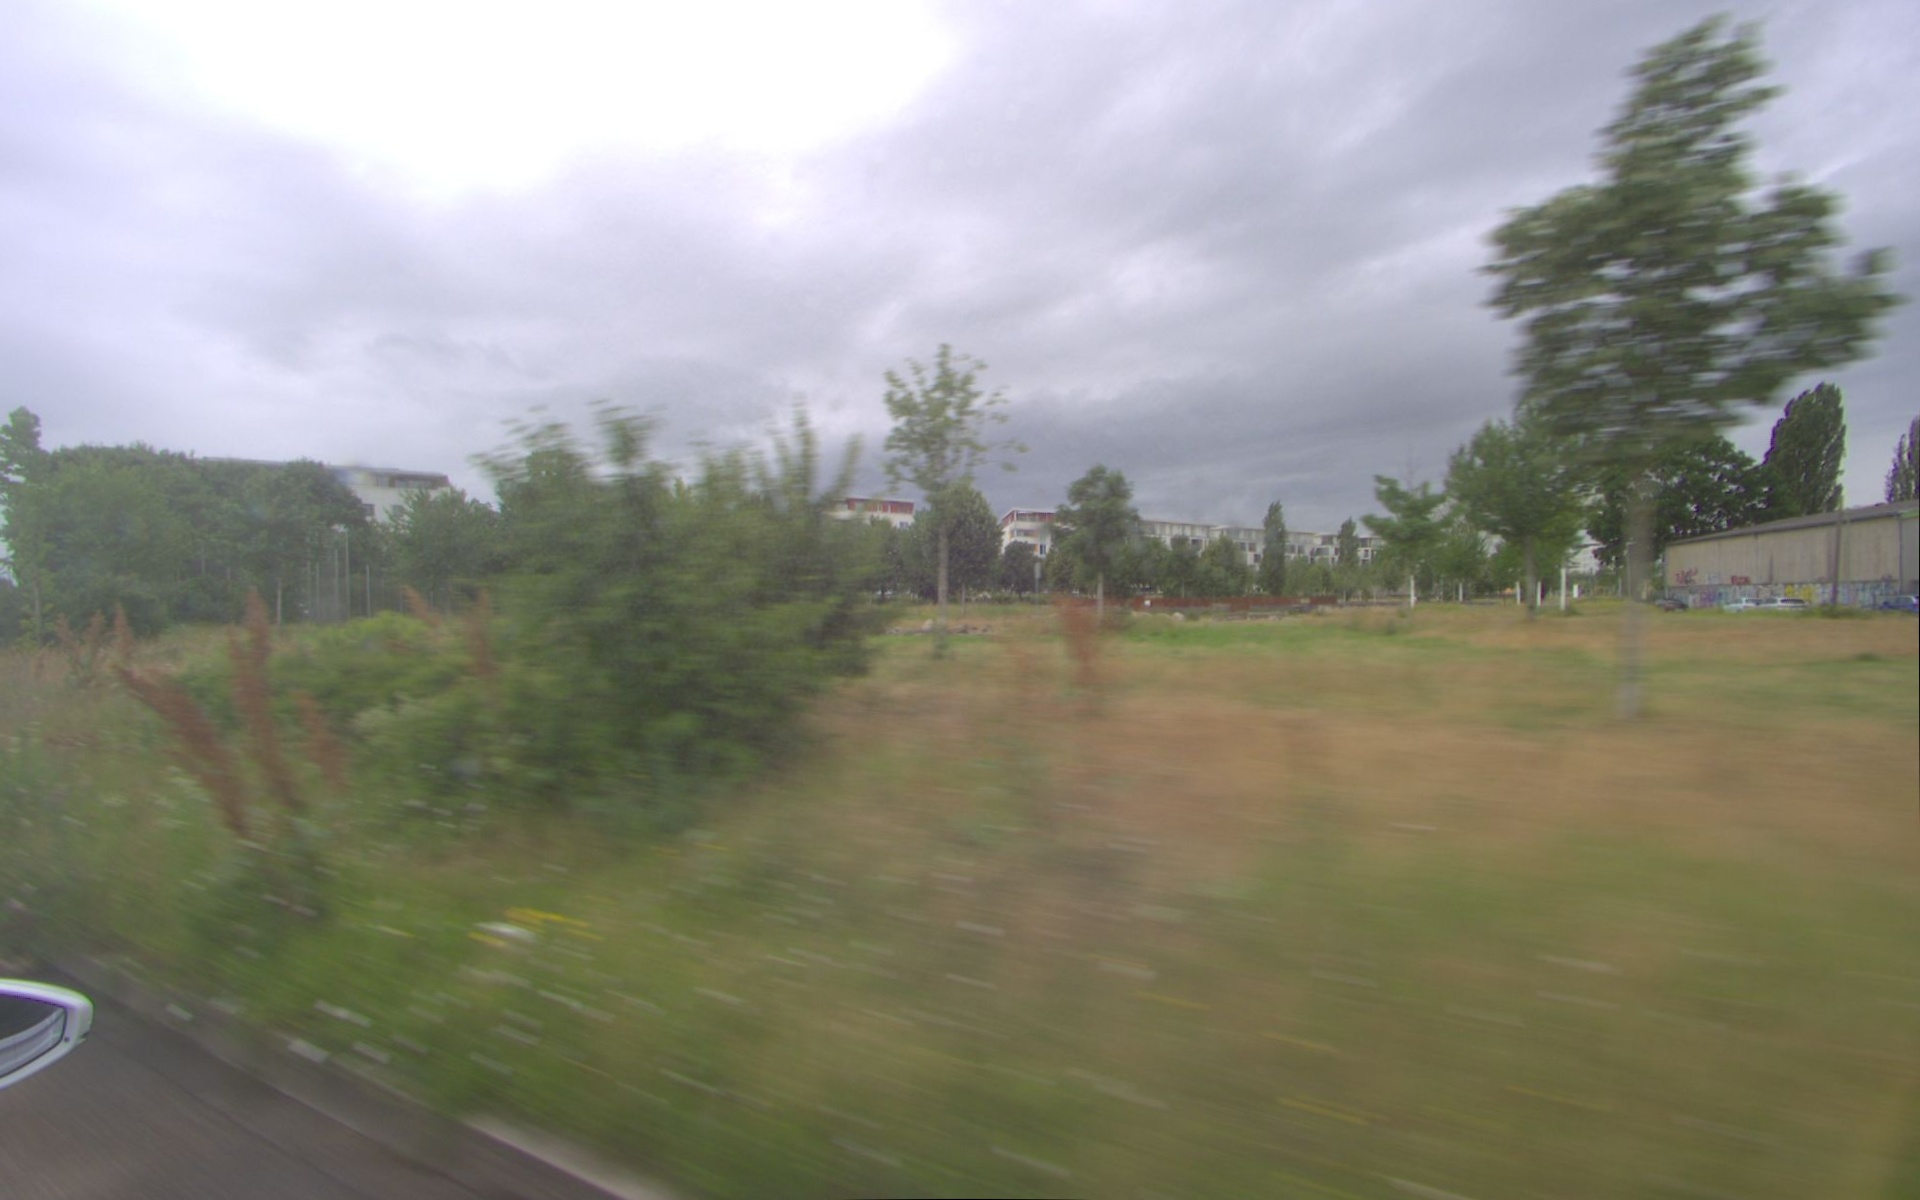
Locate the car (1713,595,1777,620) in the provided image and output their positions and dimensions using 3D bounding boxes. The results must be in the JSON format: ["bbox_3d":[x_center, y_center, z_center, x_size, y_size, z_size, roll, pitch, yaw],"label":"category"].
[{"bbox_3d":[53.974,0.465,68.929,1.964,1.595,4.372,3,1,18],"label":"car"}]

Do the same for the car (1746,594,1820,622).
[{"bbox_3d":[52.020,0.485,63.425,1.964,1.595,4.584,3,1,17],"label":"car"}]

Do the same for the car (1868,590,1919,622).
[{"bbox_3d":[48.557,0.330,50.798,1.964,1.595,4.276,3,1,18],"label":"car"}]

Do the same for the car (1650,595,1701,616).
[{"bbox_3d":[57.671,0.421,80.755,1.964,1.595,4.520,3,1,18],"label":"car"}]

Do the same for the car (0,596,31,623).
[{"bbox_3d":[-94.018,0.877,98.424,2.262,2.590,6.380,-1,1,-28],"label":"car"}]
